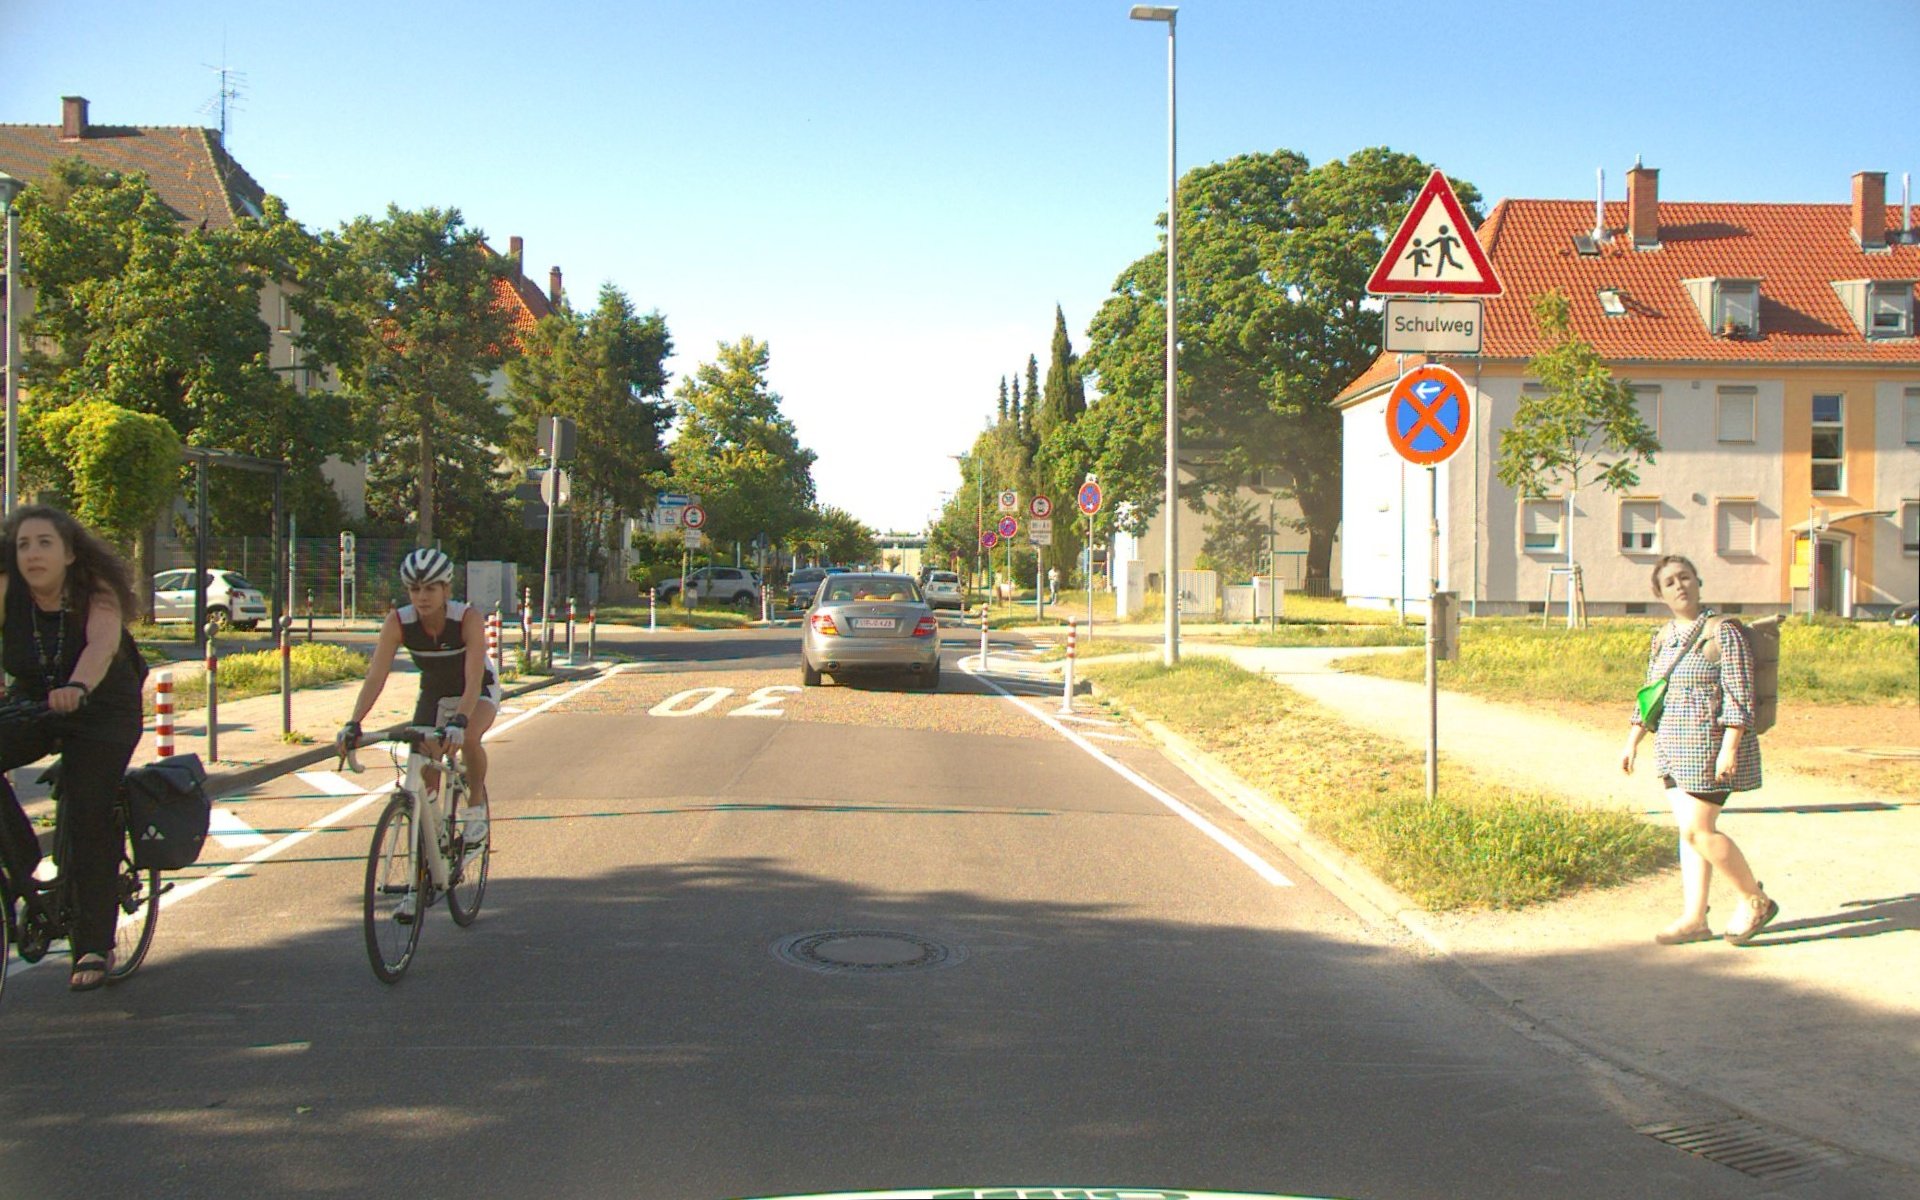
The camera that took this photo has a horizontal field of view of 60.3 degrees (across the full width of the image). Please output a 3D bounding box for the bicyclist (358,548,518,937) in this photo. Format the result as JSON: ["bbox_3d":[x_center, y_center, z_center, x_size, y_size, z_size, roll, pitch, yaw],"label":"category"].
[{"bbox_3d":[-2.094,0.538,6.694,0.487,1.489,0.687,0,1,-6],"label":"bicyclist"}]

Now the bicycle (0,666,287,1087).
[{"bbox_3d":[-3.140,0.860,5.922,0.629,1.128,2.065,0,1,-1],"label":"bicycle"}]

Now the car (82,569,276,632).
[{"bbox_3d":[-18.100,-0.001,38.443,3.688,1.423,1.706,0,0,-2],"label":"car"}]

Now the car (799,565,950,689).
[{"bbox_3d":[-1.059,0.286,21.915,1.799,1.466,4.000,1,1,-1],"label":"car"}]

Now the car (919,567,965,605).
[{"bbox_3d":[-0.774,-0.609,68.927,1.699,1.505,3.723,0,1,-4],"label":"car"}]

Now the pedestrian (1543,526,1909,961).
[{"bbox_3d":[3.376,0.573,7.343,1.071,1.702,0.909,-5,2,-19],"label":"pedestrian"}]

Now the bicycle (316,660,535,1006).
[{"bbox_3d":[-2.097,0.848,6.673,0.496,1.108,1.707,0,1,-6],"label":"bicycle"}]

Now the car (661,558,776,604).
[{"bbox_3d":[-8.894,-0.703,61.174,4.110,1.591,1.840,1,1,-5],"label":"car"}]

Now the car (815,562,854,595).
[{"bbox_3d":[-6.784,-1.177,89.853,1.954,1.637,3.997,-3,1,-4],"label":"car"}]

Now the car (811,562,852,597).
[{"bbox_3d":[-6.525,-1.050,84.221,1.954,1.637,3.997,-3,1,-4],"label":"car"}]

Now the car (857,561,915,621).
[{"bbox_3d":[-2.132,-0.289,46.948,1.565,1.637,3.641,0,1,-4],"label":"car"}]

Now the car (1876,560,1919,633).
[{"bbox_3d":[24.385,-0.104,39.595,3.969,1.693,1.721,0,1,-2],"label":"car"}]

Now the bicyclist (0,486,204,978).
[{"bbox_3d":[-3.139,0.439,5.854,0.629,1.648,0.637,0,1,-1],"label":"bicyclist"}]

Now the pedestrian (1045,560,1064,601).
[{"bbox_3d":[3.809,-0.789,66.502,0.750,1.639,0.834,0,1,3],"label":"pedestrian"}]

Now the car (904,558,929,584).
[{"bbox_3d":[-3.264,-2.194,124.744,1.817,1.873,3.999,0,1,-3],"label":"car"}]

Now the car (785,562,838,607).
[{"bbox_3d":[-5.922,-0.641,66.430,1.954,1.637,3.997,-3,1,-4],"label":"car"}]
